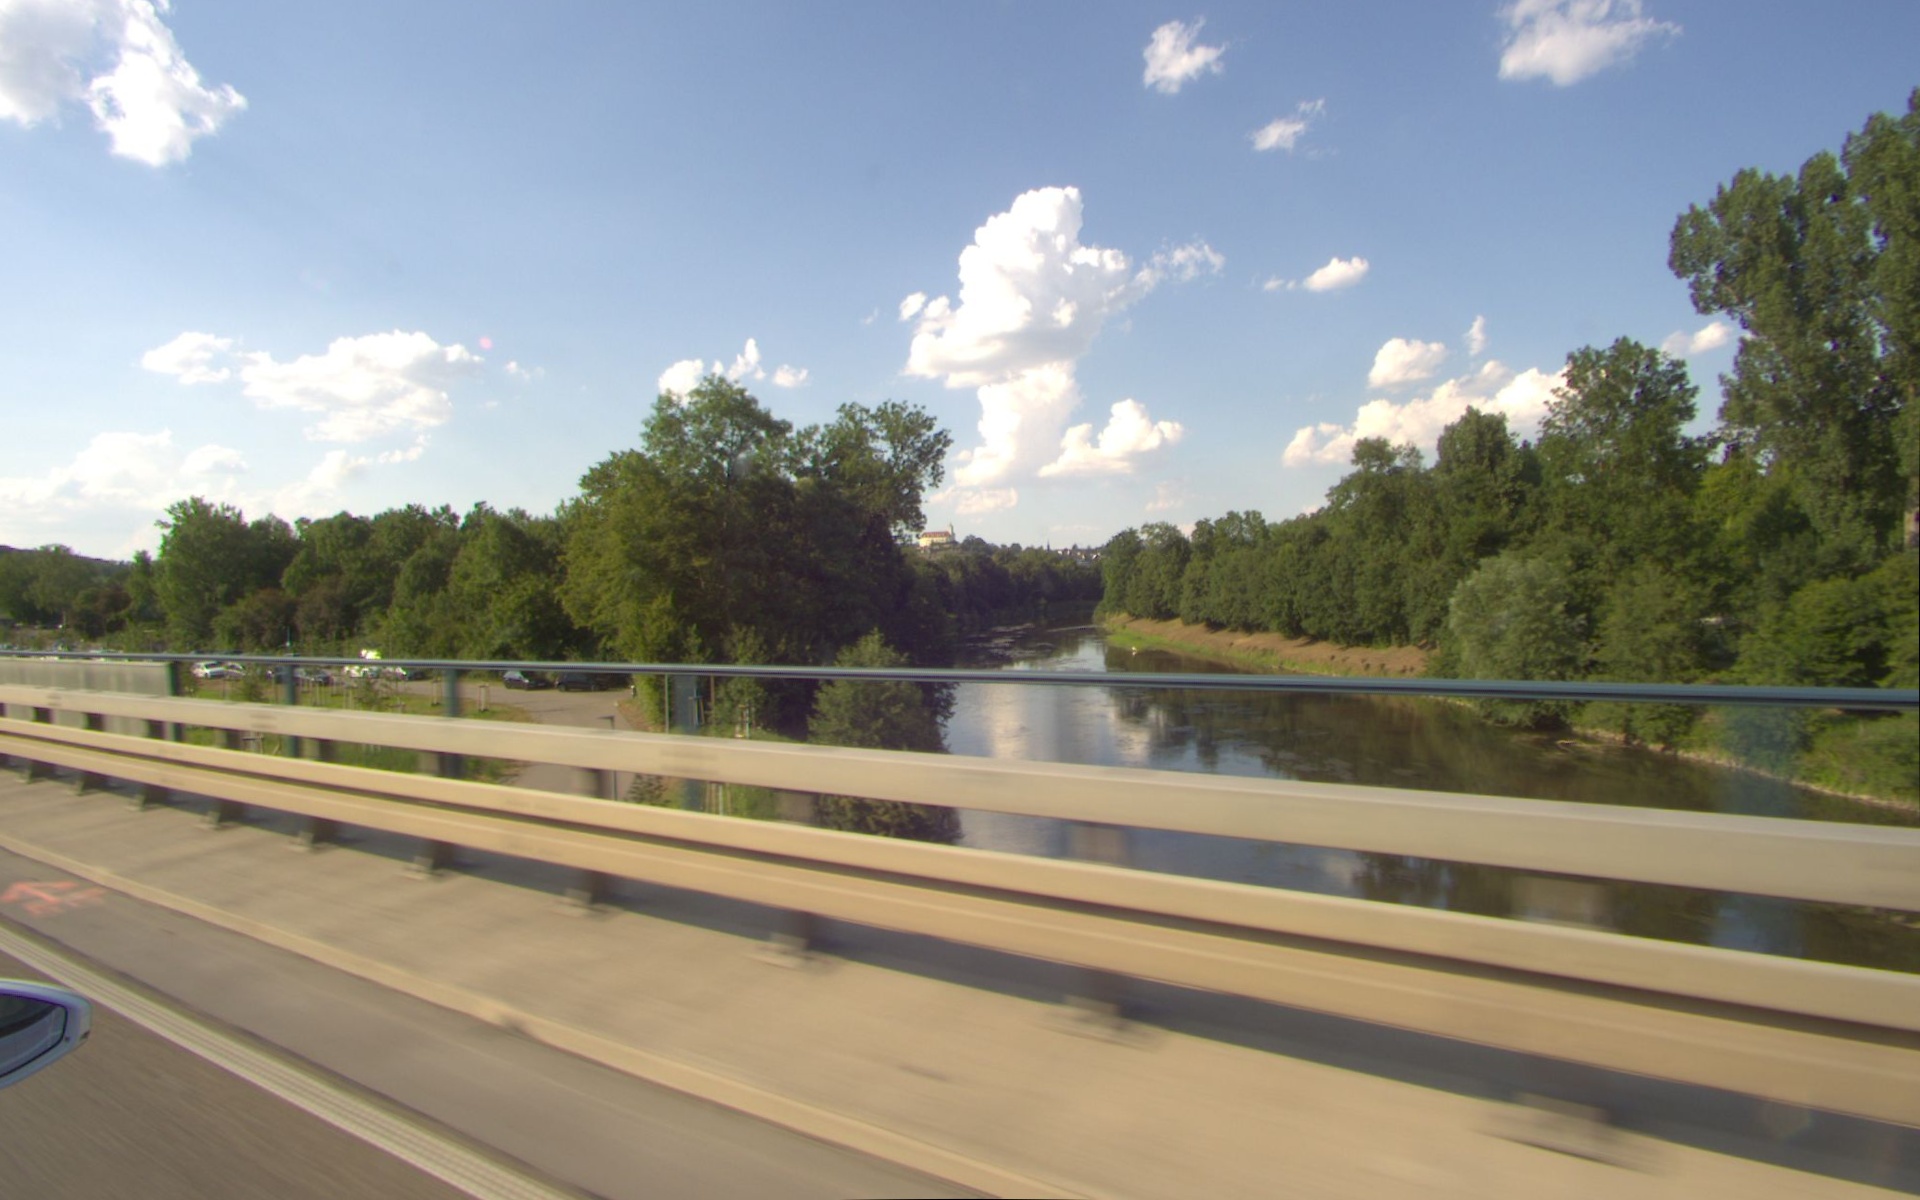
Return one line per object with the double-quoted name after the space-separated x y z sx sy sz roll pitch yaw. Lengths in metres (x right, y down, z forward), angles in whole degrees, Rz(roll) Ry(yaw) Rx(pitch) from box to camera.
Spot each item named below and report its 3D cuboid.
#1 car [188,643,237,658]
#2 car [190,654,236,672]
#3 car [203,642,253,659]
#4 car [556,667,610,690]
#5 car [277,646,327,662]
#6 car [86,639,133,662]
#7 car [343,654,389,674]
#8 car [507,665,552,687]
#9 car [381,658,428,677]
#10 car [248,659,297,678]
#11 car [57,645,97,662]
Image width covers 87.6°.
-87.132 5.887 116.723 1.806 1.625 4.228 0 -1 30 "car"
-71.410 6.010 95.686 4.188 1.503 1.816 1 2 27 "car"
-84.013 5.778 114.969 1.803 1.765 4.234 1 -1 25 "car"
-28.841 6.008 76.633 3.615 1.516 1.658 -1 0 -11 "car"
-71.369 5.858 108.664 1.704 1.475 4.406 1 0 21 "car"
-91.140 5.366 107.297 5.299 2.046 2.114 1 4 31 "car"
-54.325 5.817 91.539 4.640 1.688 1.651 -1 0 32 "car"
-33.778 5.960 78.582 3.781 1.516 1.648 -1 0 38 "car"
-48.909 5.936 88.179 4.159 1.516 1.653 -1 0 29 "car"
-61.415 6.091 89.449 4.188 1.421 1.816 1 2 27 "car"
-98.550 5.944 111.762 4.711 1.503 1.887 1 4 31 "car"
